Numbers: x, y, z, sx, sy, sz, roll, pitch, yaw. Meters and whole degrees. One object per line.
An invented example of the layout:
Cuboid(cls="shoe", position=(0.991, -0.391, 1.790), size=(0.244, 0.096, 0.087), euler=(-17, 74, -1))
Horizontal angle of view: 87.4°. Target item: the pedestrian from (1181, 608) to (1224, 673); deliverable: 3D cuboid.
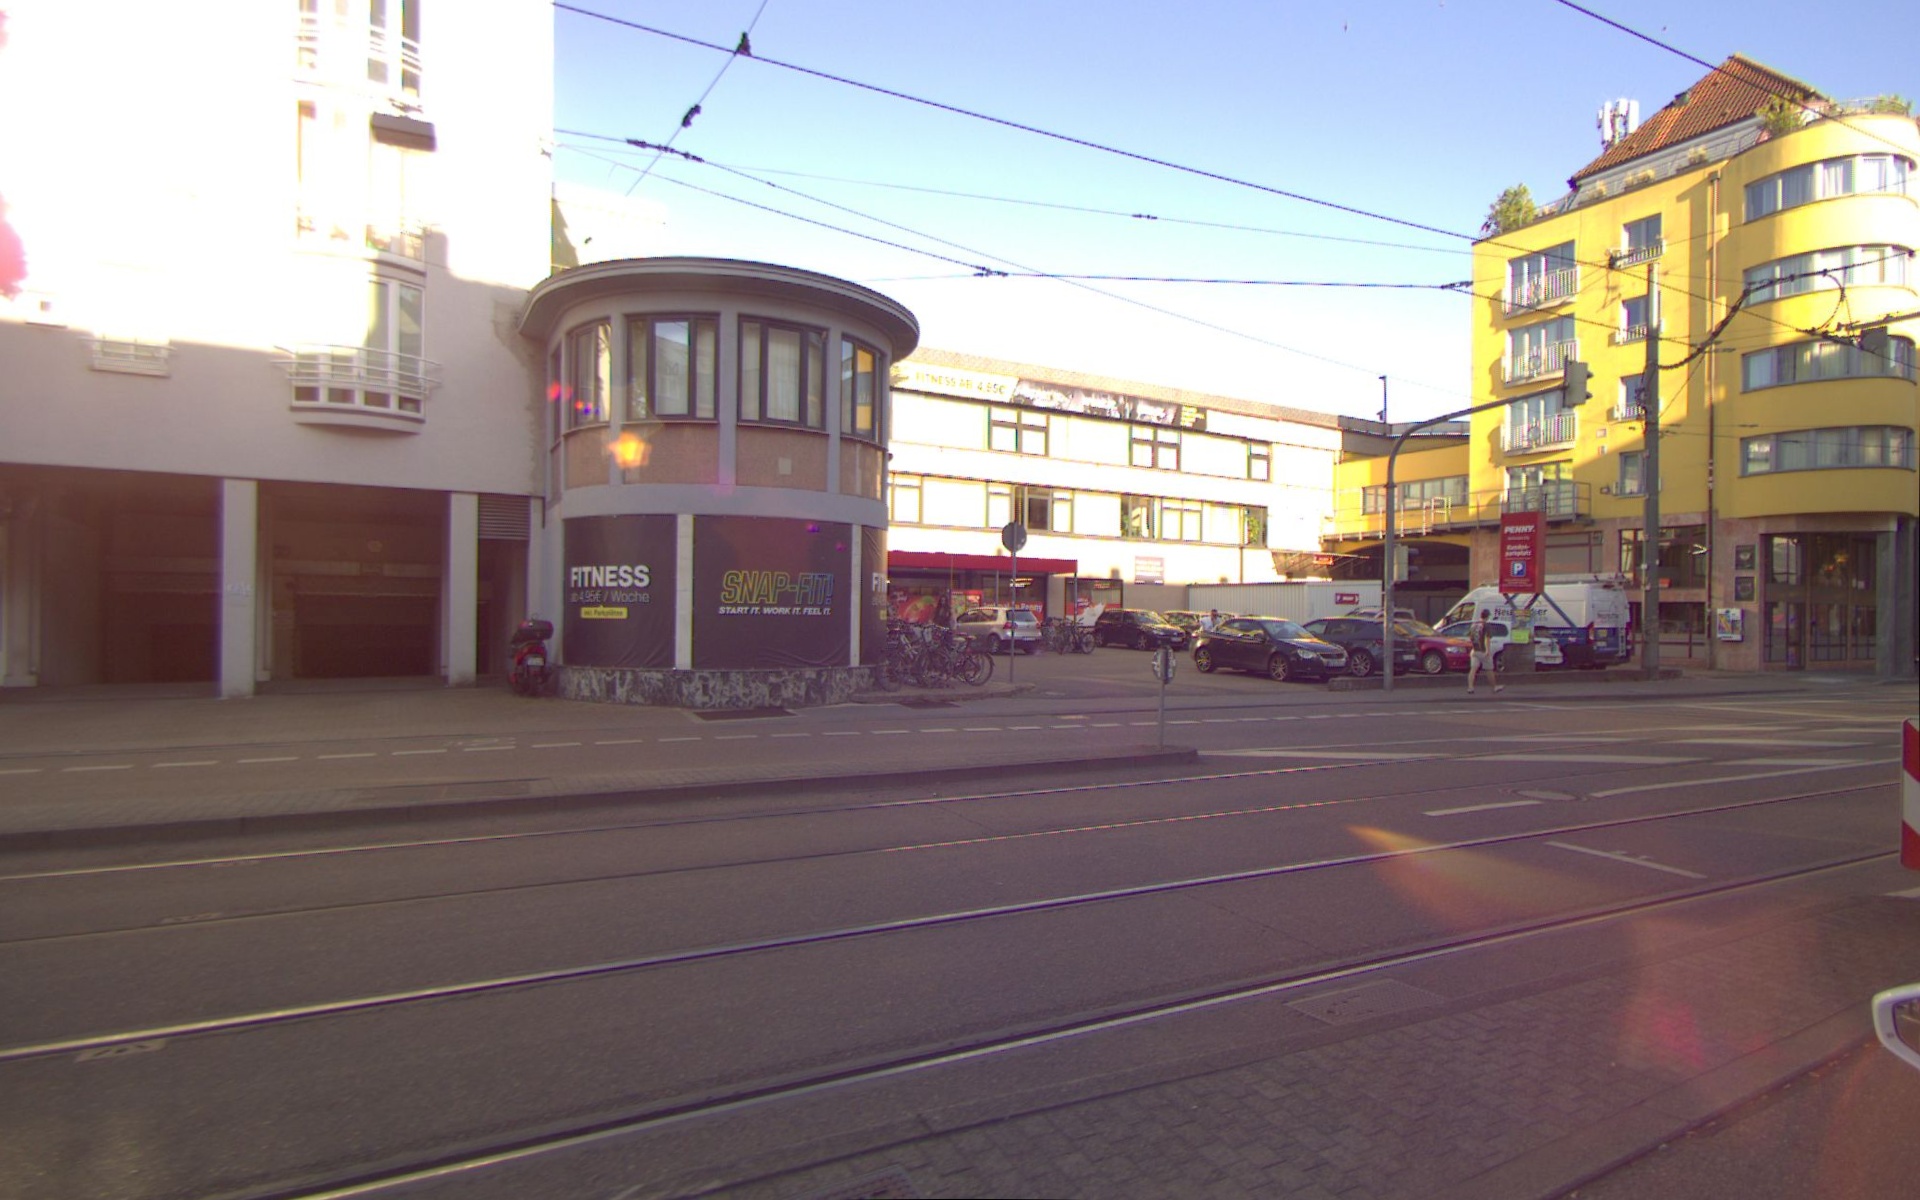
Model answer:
Cuboid(cls="pedestrian", position=(6.453, 1.057, 26.735), size=(0.826, 1.691, 0.766), euler=(0, -1, -29))

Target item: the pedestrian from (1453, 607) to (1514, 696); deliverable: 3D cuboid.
Cuboid(cls="pedestrian", position=(11.257, 1.085, 21.602), size=(0.898, 1.857, 0.829), euler=(0, -1, -30))

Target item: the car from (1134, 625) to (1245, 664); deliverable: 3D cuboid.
Cuboid(cls="car", position=(8.752, 1.662, 38.585), size=(1.978, 1.372, 3.966), euler=(1, -1, -32))

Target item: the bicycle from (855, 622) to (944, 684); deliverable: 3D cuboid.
Cuboid(cls="bicycle", position=(-1.210, 1.052, 20.291), size=(1.812, 1.203, 0.445), euler=(0, -1, -33))

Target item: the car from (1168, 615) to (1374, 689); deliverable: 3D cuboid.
Cuboid(cls="car", position=(7.376, 1.175, 24.388), size=(1.856, 1.604, 4.874), euler=(0, -1, -29))

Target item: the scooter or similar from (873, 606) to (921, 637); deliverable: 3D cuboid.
Cuboid(cls="scooter or similar", position=(-2.007, 0.675, 31.745), size=(1.233, 0.974, 0.908), euler=(1, 0, -32))

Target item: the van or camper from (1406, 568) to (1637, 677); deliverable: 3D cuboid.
Cuboid(cls="van or camper", position=(16.226, 0.636, 29.417), size=(2.287, 2.864, 5.583), euler=(0, -1, -28))

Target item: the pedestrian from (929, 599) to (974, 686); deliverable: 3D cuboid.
Cuboid(cls="pedestrian", position=(-0.179, 0.838, 20.337), size=(0.675, 1.719, 0.677), euler=(0, -1, -32))

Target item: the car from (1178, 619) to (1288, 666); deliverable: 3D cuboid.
Cuboid(cls="car", position=(10.768, 1.653, 39.835), size=(1.978, 1.723, 3.966), euler=(1, -1, -32))

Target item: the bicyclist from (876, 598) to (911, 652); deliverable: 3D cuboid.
Cuboid(cls="bicyclist", position=(-1.981, 0.736, 29.874), size=(0.826, 1.570, 0.687), euler=(-1, -1, 44))

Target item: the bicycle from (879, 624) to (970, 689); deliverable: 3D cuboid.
Cuboid(cls="bicycle", position=(-0.673, 1.077, 19.503), size=(1.812, 1.203, 0.440), euler=(0, -1, -33))

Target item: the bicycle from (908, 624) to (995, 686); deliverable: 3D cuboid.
Cuboid(cls="bicycle", position=(-0.162, 1.095, 20.368), size=(1.812, 1.203, 0.445), euler=(0, -1, -33))

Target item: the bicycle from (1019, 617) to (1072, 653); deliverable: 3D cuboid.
Cuboid(cls="bicycle", position=(2.950, 1.188, 34.600), size=(1.805, 1.203, 0.430), euler=(0, -1, -23))

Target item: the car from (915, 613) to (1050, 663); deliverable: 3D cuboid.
Cuboid(cls="car", position=(0.654, 1.189, 32.844), size=(1.865, 1.495, 4.548), euler=(1, -1, -41))

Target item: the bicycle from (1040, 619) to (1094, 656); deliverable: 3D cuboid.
Cuboid(cls="bicycle", position=(3.549, 1.239, 33.267), size=(1.805, 1.203, 0.430), euler=(0, -1, -23))

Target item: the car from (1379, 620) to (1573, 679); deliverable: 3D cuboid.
Cuboid(cls="car", position=(14.202, 1.304, 27.950), size=(1.856, 1.495, 4.569), euler=(0, -1, -29))

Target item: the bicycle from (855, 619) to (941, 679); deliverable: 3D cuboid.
Cuboid(cls="bicycle", position=(-1.279, 0.992, 20.853), size=(1.812, 1.203, 0.445), euler=(0, -1, -33))

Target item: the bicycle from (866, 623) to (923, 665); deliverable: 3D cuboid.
Cuboid(cls="bicycle", position=(-1.964, 1.290, 29.852), size=(1.806, 1.186, 0.679), euler=(-1, -1, 44))

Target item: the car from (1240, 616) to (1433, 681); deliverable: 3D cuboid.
Cuboid(cls="car", position=(9.511, 1.172, 25.798), size=(1.856, 1.495, 4.569), euler=(0, -1, -29))

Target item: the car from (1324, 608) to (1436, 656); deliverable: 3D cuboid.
Cuboid(cls="car", position=(16.069, 1.203, 38.403), size=(4.074, 1.759, 1.983), euler=(1, -1, -32))

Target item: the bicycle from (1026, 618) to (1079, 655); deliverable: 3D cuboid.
Cuboid(cls="bicycle", position=(3.126, 1.228, 34.017), size=(1.805, 1.203, 0.430), euler=(0, -1, -23))

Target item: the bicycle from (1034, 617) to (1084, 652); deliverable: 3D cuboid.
Cuboid(cls="bicycle", position=(3.519, 1.217, 35.784), size=(1.805, 1.203, 0.430), euler=(0, -1, -23))

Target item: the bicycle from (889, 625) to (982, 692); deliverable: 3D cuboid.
Cuboid(cls="bicycle", position=(-0.448, 1.089, 19.098), size=(1.812, 1.203, 0.445), euler=(0, -1, -33))

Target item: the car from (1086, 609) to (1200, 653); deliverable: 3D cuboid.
Cuboid(cls="car", position=(6.660, 1.102, 36.929), size=(1.978, 1.528, 3.966), euler=(1, -1, -32))

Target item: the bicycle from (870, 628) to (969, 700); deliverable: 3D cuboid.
Cuboid(cls="bicycle", position=(-0.694, 1.095, 17.658), size=(1.814, 1.203, 0.442), euler=(0, -1, -36))

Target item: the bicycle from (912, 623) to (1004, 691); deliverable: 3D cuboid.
Cuboid(cls="bicycle", position=(-0.019, 1.043, 18.664), size=(1.813, 1.203, 0.437), euler=(0, -1, -36))

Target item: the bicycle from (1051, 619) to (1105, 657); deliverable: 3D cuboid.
Cuboid(cls="bicycle", position=(3.850, 1.225, 32.764), size=(1.805, 1.203, 0.430), euler=(0, -1, -23))

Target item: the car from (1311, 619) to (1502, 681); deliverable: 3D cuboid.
Cuboid(cls="car", position=(11.914, 1.274, 27.131), size=(1.856, 1.495, 4.569), euler=(0, -1, -29))

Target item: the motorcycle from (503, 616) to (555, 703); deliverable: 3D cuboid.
Cuboid(cls="motorcycle", position=(-7.245, 0.957, 16.838), size=(0.555, 1.296, 1.745), euler=(0, 2, -32))
